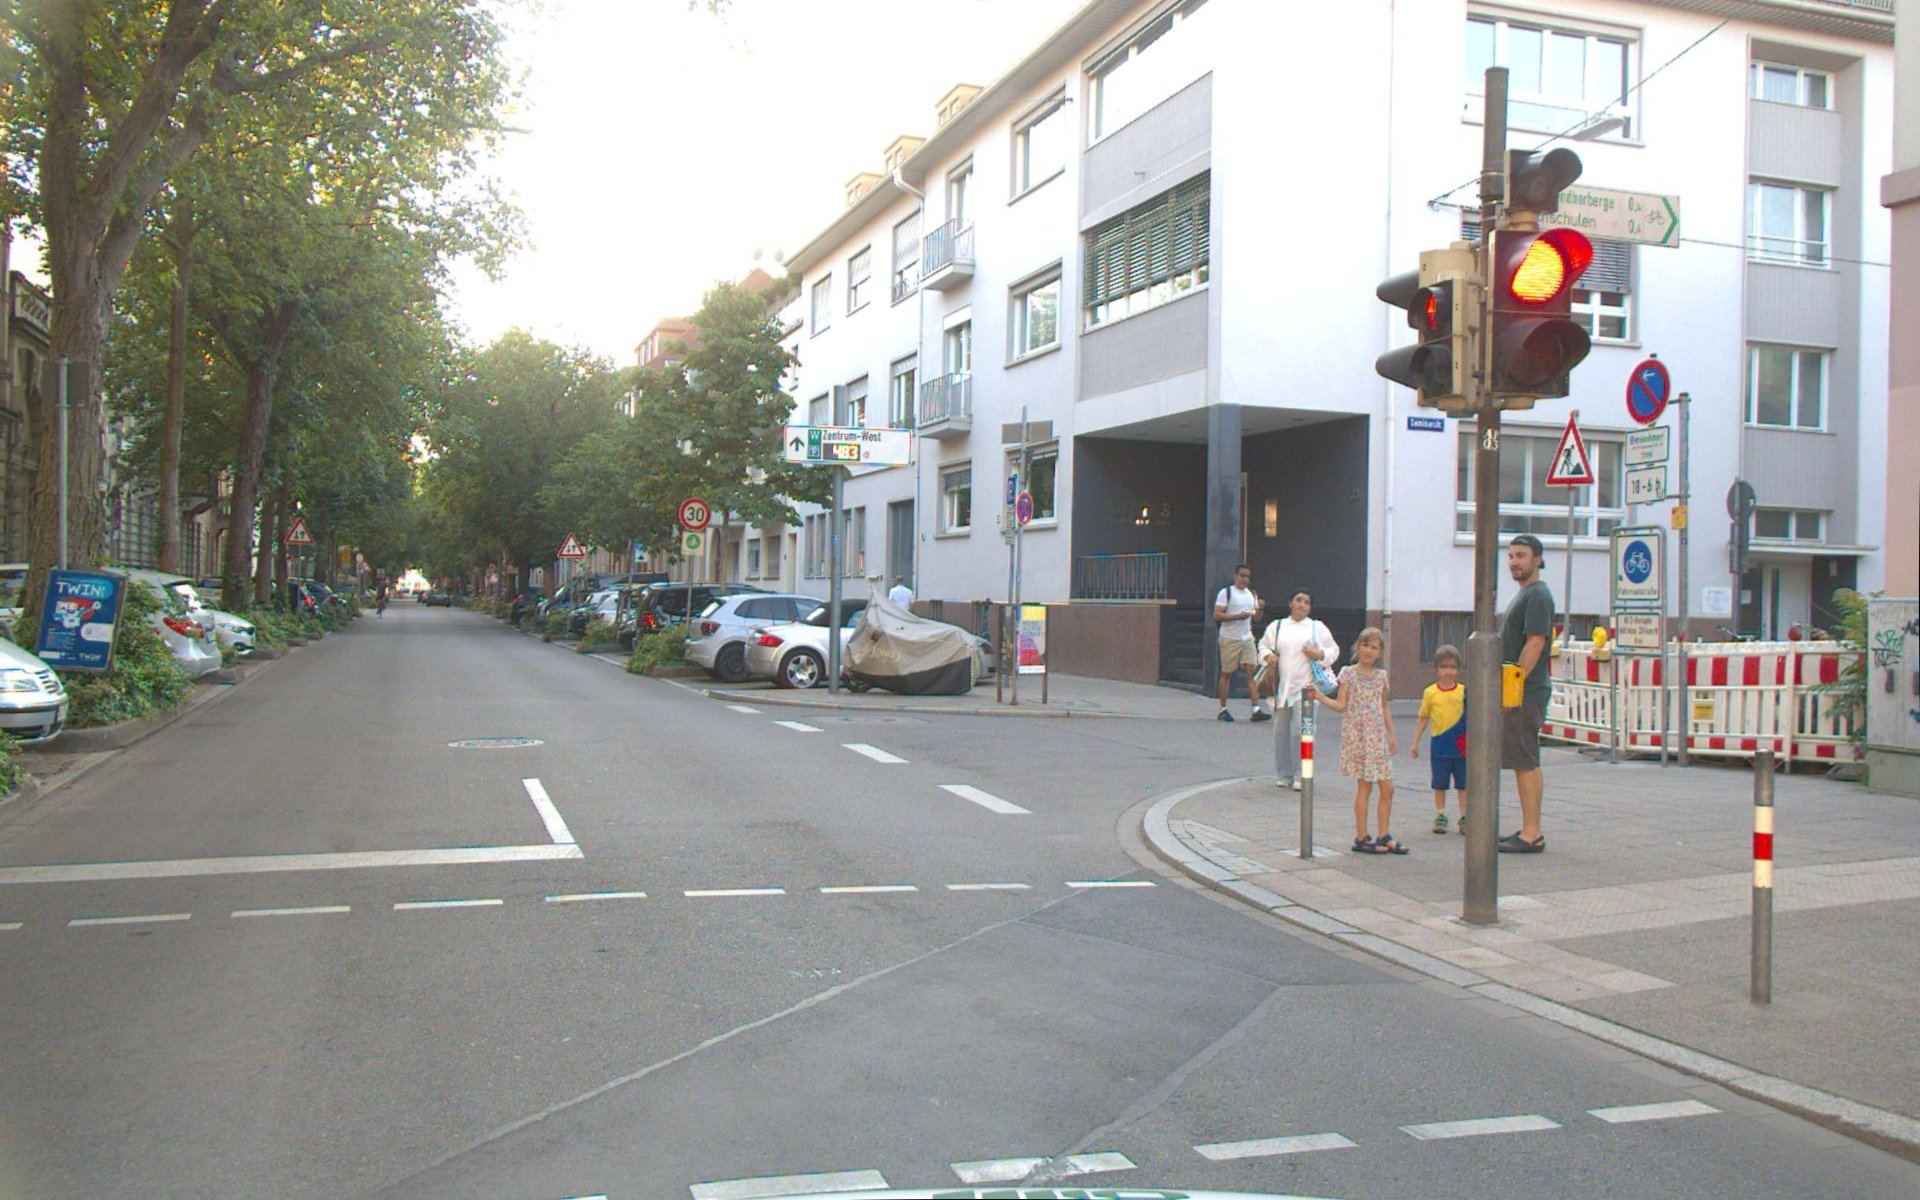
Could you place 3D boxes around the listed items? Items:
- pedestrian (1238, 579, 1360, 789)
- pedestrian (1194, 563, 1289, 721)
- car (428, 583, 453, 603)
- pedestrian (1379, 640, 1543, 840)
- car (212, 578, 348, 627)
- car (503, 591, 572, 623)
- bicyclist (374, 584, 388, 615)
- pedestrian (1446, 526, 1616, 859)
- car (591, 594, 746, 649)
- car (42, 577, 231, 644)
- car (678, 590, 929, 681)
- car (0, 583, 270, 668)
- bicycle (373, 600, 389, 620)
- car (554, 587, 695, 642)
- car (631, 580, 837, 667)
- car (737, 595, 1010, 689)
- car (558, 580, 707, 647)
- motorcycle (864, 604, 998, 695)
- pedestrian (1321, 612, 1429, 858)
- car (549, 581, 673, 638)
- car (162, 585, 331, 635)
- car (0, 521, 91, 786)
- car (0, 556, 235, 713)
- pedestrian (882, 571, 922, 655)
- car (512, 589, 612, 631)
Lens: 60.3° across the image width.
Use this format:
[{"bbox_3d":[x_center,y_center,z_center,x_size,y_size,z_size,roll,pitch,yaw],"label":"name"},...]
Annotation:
[{"bbox_3d":[2.582,0.614,12.547,0.758,1.527,0.801,0,0,23],"label":"pedestrian"},{"bbox_3d":[3.420,0.501,20.131,0.755,1.873,0.939,2,0,-18],"label":"pedestrian"},{"bbox_3d":[-42.731,-0.586,135.977,1.798,1.589,4.005,2,0,-19],"label":"car"},{"bbox_3d":[3.103,0.838,10.279,0.559,1.140,0.829,0,1,-29],"label":"pedestrian"},{"bbox_3d":[-25.264,0.100,61.610,4.477,1.721,1.824,1,0,-18],"label":"car"},{"bbox_3d":[-26.023,0.437,101.807,3.953,1.862,1.698,1,0,-19],"label":"car"},{"bbox_3d":[-28.475,-0.006,81.402,0.564,1.495,0.638,2,-1,-25],"label":"bicyclist"},{"bbox_3d":[3.314,0.497,9.680,0.869,1.847,0.794,1,2,16],"label":"pedestrian"},{"bbox_3d":[-7.898,0.568,44.790,3.953,1.434,1.698,0,0,-19],"label":"car"},{"bbox_3d":[-20.574,0.260,41.496,3.976,1.618,1.824,1,0,-18],"label":"car"},{"bbox_3d":[-2.663,0.578,27.995,3.953,1.467,1.698,0,0,-19],"label":"car"},{"bbox_3d":[-14.449,0.427,28.587,4.477,1.396,1.824,1,0,-18],"label":"car"},{"bbox_3d":[-28.496,0.473,81.416,0.564,0.966,1.731,2,-1,-24],"label":"bicycle"},{"bbox_3d":[-10.042,0.433,49.494,3.953,1.557,1.698,1,0,-19],"label":"car"},{"bbox_3d":[-4.661,0.477,34.044,3.953,1.720,1.698,0,0,-19],"label":"car"},{"bbox_3d":[-1.365,0.631,25.714,3.952,1.366,1.698,0,0,-18],"label":"car"},{"bbox_3d":[-9.250,0.373,46.717,3.953,1.847,1.698,0,0,-19],"label":"car"},{"bbox_3d":[-0.402,0.675,22.651,1.767,1.220,0.611,0,0,-10],"label":"motorcycle"},{"bbox_3d":[2.386,0.760,9.550,0.494,1.359,0.541,1,0,4],"label":"pedestrian"},{"bbox_3d":[-11.927,0.322,56.493,3.953,1.862,1.698,1,0,-19],"label":"car"},{"bbox_3d":[-21.433,0.306,49.867,4.477,1.434,1.824,1,0,-18],"label":"car"},{"bbox_3d":[-8.849,0.348,11.788,4.483,1.867,1.821,1,0,-22],"label":"car"},{"bbox_3d":[-10.880,0.372,18.991,4.477,1.718,1.824,1,0,-18],"label":"car"},{"bbox_3d":[-1.255,0.278,35.522,0.692,1.782,0.697,1,0,-15],"label":"pedestrian"},{"bbox_3d":[-16.435,0.412,68.453,3.909,1.605,1.904,2,-1,-13],"label":"car"}]
